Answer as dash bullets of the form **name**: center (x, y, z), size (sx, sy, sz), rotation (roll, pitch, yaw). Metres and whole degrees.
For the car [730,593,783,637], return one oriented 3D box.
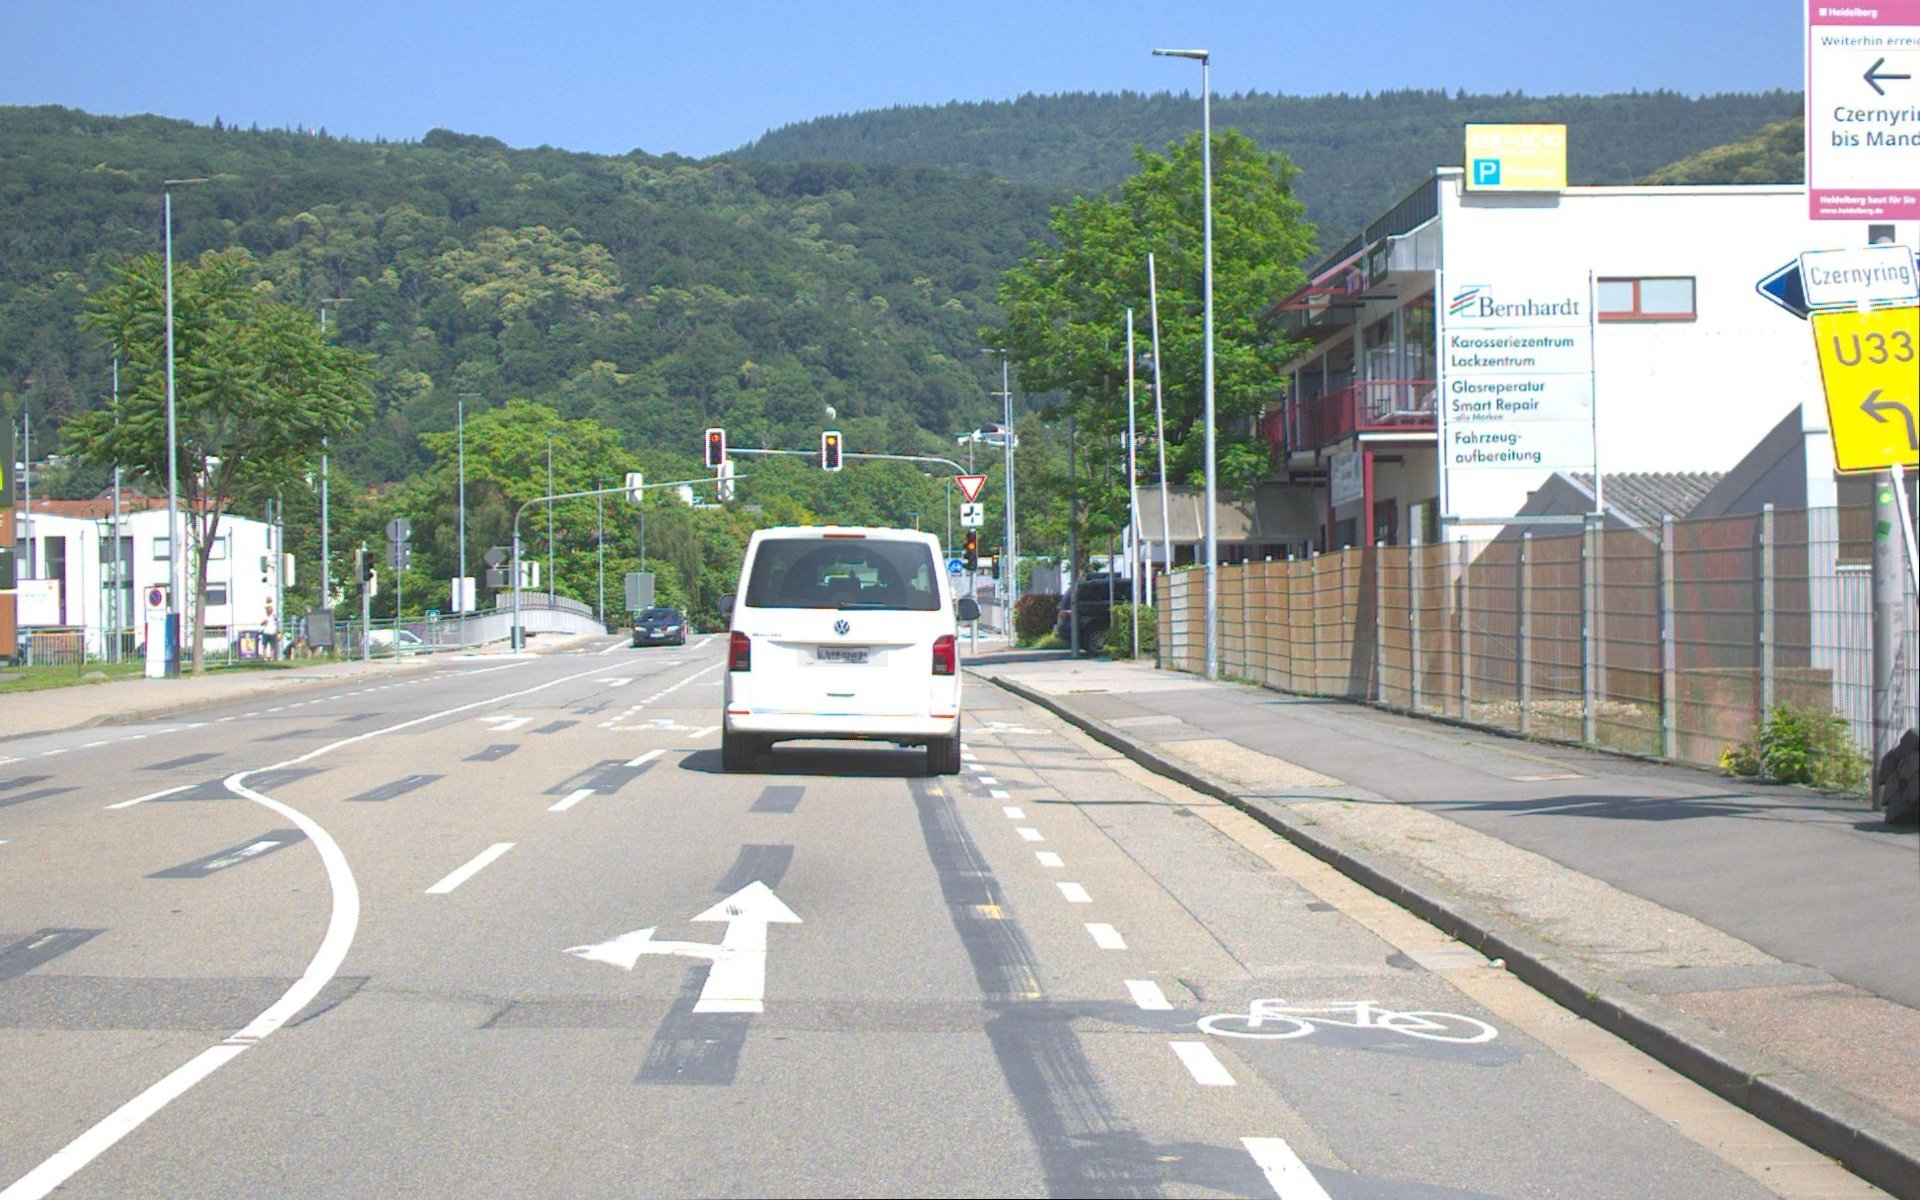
- **car**: center (-7.683, 0.543, 129.802), size (1.849, 1.583, 4.000), rotation (-1, 0, -2)

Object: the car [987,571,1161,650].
- **car**: center (2.699, 0.237, 81.053), size (3.987, 1.769, 2.000), rotation (-1, 0, 4)

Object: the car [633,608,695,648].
- **car**: center (-10.820, 1.003, 126.035), size (1.993, 1.365, 4.327), rotation (-1, 0, -1)

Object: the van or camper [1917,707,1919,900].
- **van or camper**: center (10.459, 1.748, 28.696), size (4.312, 1.645, 2.021), rotation (0, 0, -6)

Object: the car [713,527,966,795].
- **car**: center (-1.058, 0.455, 28.680), size (1.934, 2.052, 4.545), rotation (0, 0, -3)
